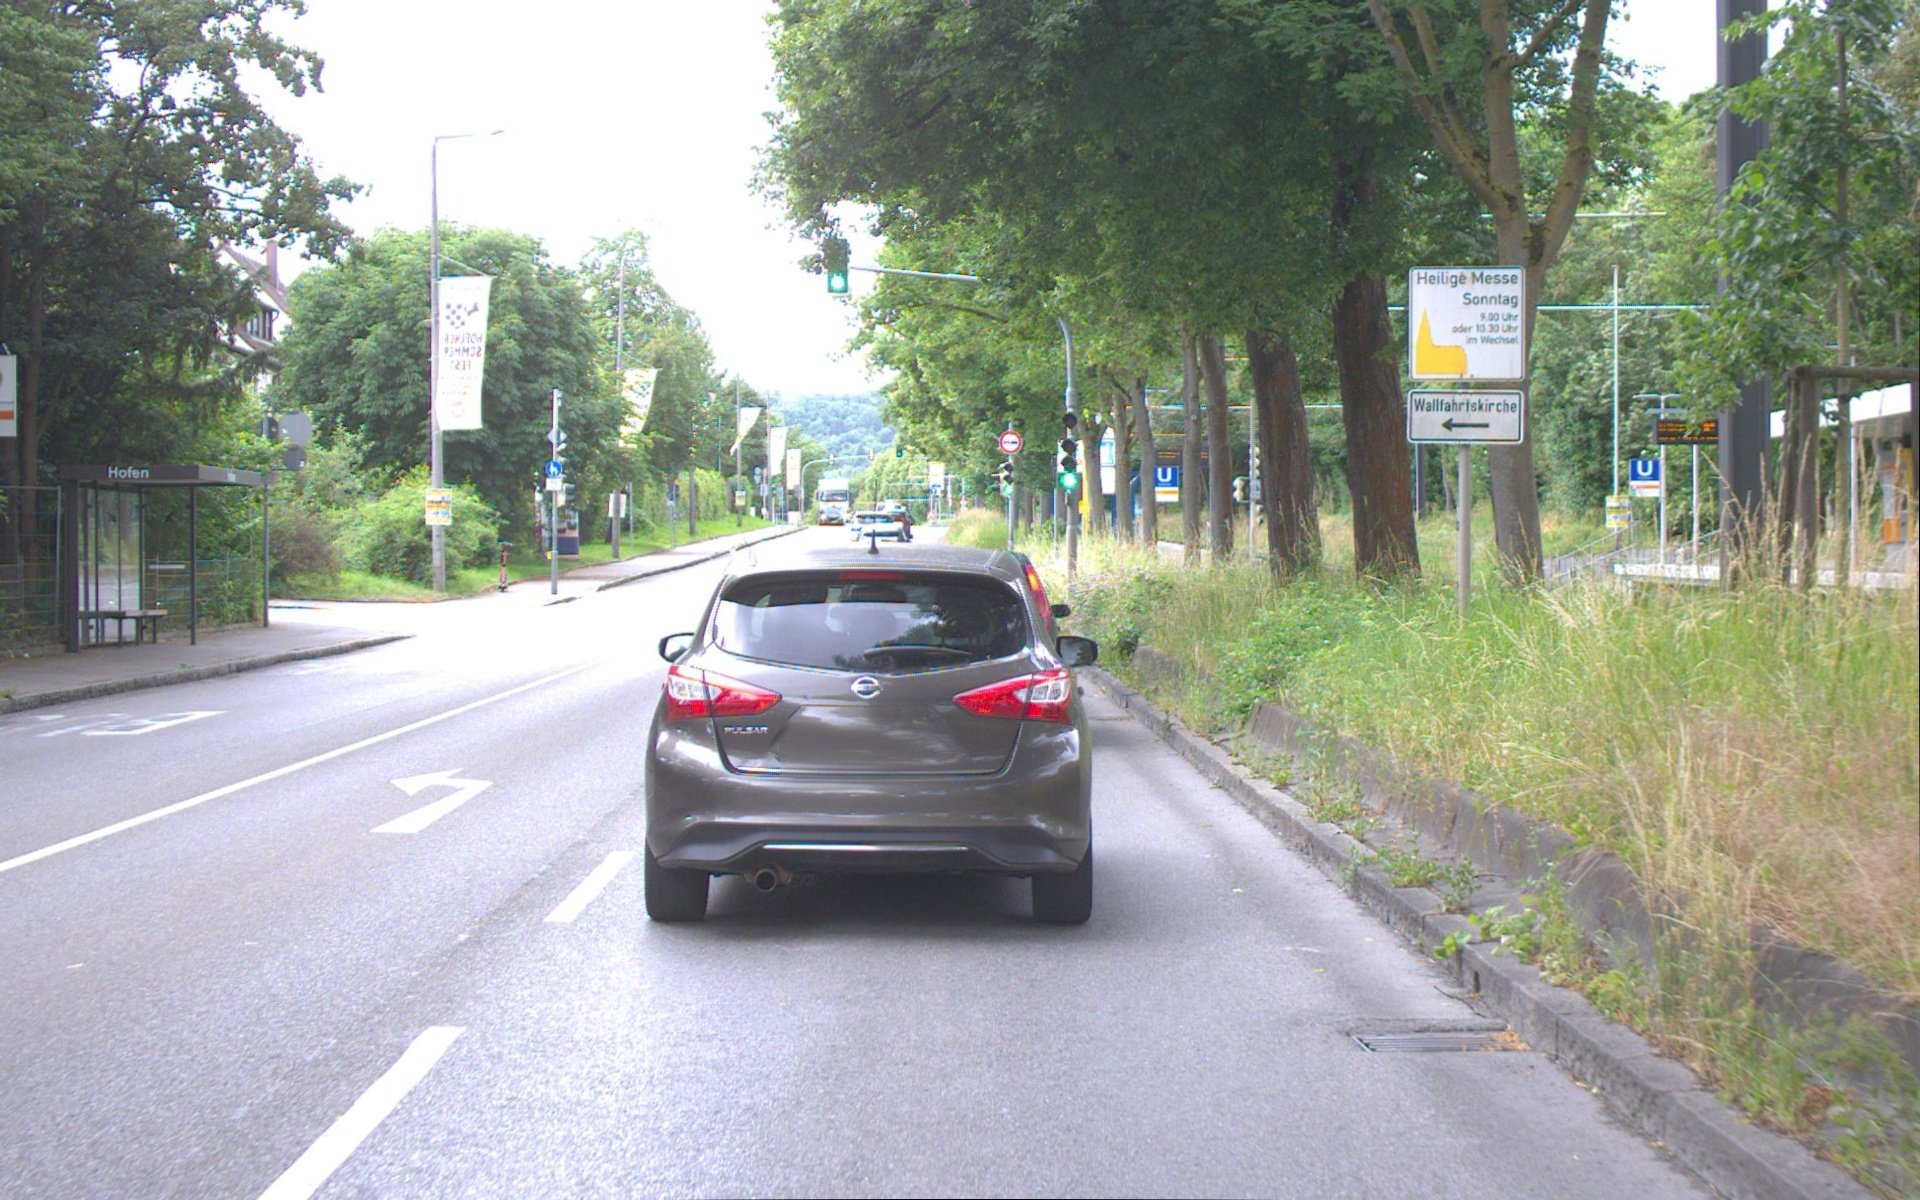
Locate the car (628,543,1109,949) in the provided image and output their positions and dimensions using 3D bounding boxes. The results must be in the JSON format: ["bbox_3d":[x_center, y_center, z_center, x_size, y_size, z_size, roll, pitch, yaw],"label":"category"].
[{"bbox_3d":[-0.352,0.517,14.639,1.783,1.501,3.696,0,1,0],"label":"car"}]

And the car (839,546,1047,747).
[{"bbox_3d":[-0.152,0.311,26.727,1.502,1.436,3.542,0,1,-1],"label":"car"}]

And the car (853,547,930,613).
[{"bbox_3d":[-1.554,-0.481,78.121,1.691,1.436,3.542,0,1,-1],"label":"car"}]

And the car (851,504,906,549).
[{"bbox_3d":[-3.069,-2.767,130.067,1.993,1.568,4.000,2,0,-1],"label":"car"}]

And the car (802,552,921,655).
[{"bbox_3d":[-1.433,0.019,50.921,1.691,1.436,3.542,0,1,-1],"label":"car"}]

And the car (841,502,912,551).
[{"bbox_3d":[-2.429,-2.129,100.589,1.993,1.316,4.000,2,0,-1],"label":"car"}]

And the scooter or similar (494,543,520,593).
[{"bbox_3d":[-11.547,-0.814,87.659,0.462,1.254,1.426,0,1,0],"label":"scooter or similar"}]
